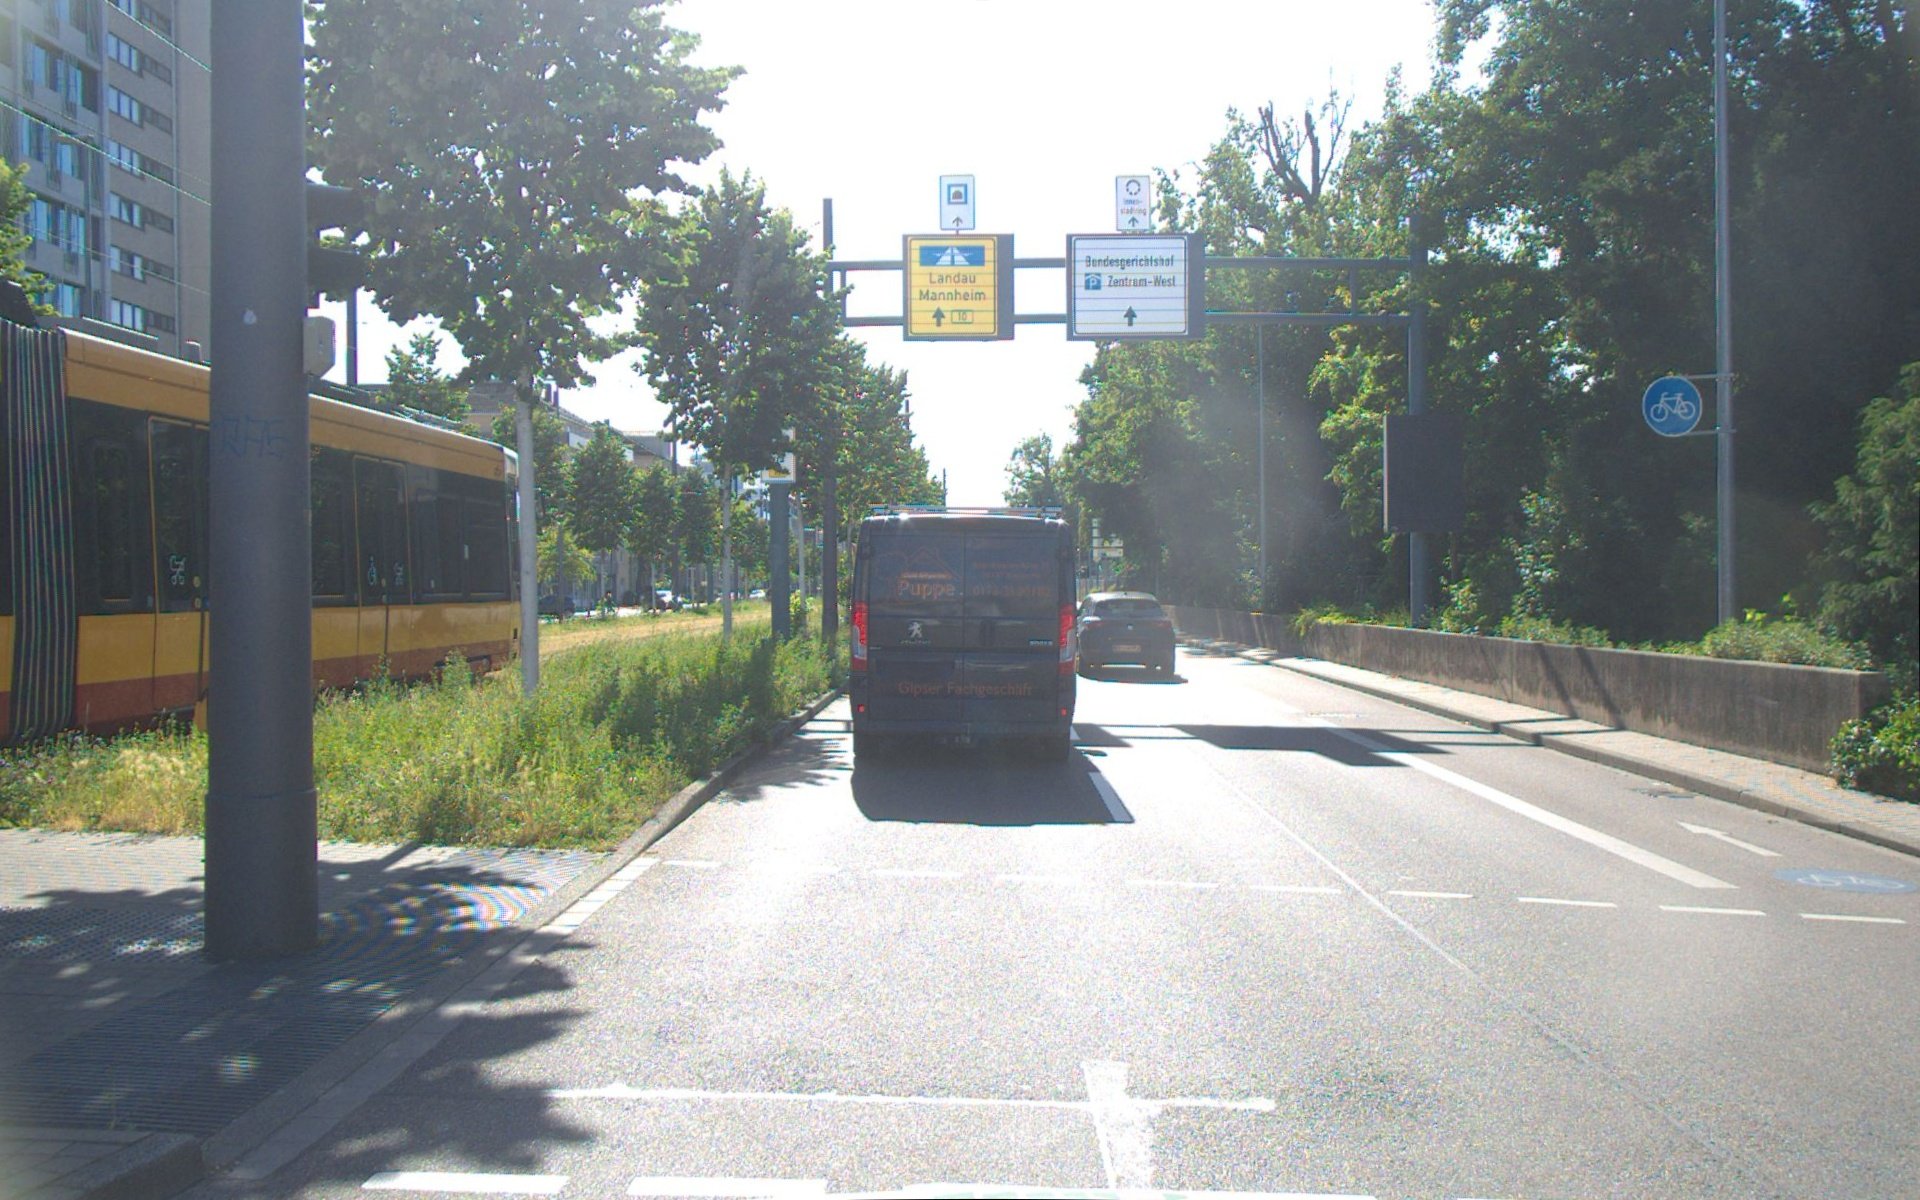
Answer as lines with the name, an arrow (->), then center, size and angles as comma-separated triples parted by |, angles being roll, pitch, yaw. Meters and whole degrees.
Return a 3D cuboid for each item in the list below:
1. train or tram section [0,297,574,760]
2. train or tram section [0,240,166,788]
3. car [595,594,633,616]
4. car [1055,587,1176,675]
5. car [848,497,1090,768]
train or tram section -> -7.125, -0.606, 19.218 | 1.952, 3.733, 11.688 | 0, 0, 3
train or tram section -> -7.699, -0.574, 7.766 | 1.952, 3.733, 11.321 | 0, 0, 3
car -> -26.358, 0.364, 126.257 | 1.952, 1.579, 4.001 | 1, 0, 1
car -> 2.769, 0.521, 30.271 | 1.727, 1.488, 3.999 | 1, 0, -2
car -> 0.078, 0.266, 16.058 | 2.039, 2.288, 4.000 | 1, 0, 0
